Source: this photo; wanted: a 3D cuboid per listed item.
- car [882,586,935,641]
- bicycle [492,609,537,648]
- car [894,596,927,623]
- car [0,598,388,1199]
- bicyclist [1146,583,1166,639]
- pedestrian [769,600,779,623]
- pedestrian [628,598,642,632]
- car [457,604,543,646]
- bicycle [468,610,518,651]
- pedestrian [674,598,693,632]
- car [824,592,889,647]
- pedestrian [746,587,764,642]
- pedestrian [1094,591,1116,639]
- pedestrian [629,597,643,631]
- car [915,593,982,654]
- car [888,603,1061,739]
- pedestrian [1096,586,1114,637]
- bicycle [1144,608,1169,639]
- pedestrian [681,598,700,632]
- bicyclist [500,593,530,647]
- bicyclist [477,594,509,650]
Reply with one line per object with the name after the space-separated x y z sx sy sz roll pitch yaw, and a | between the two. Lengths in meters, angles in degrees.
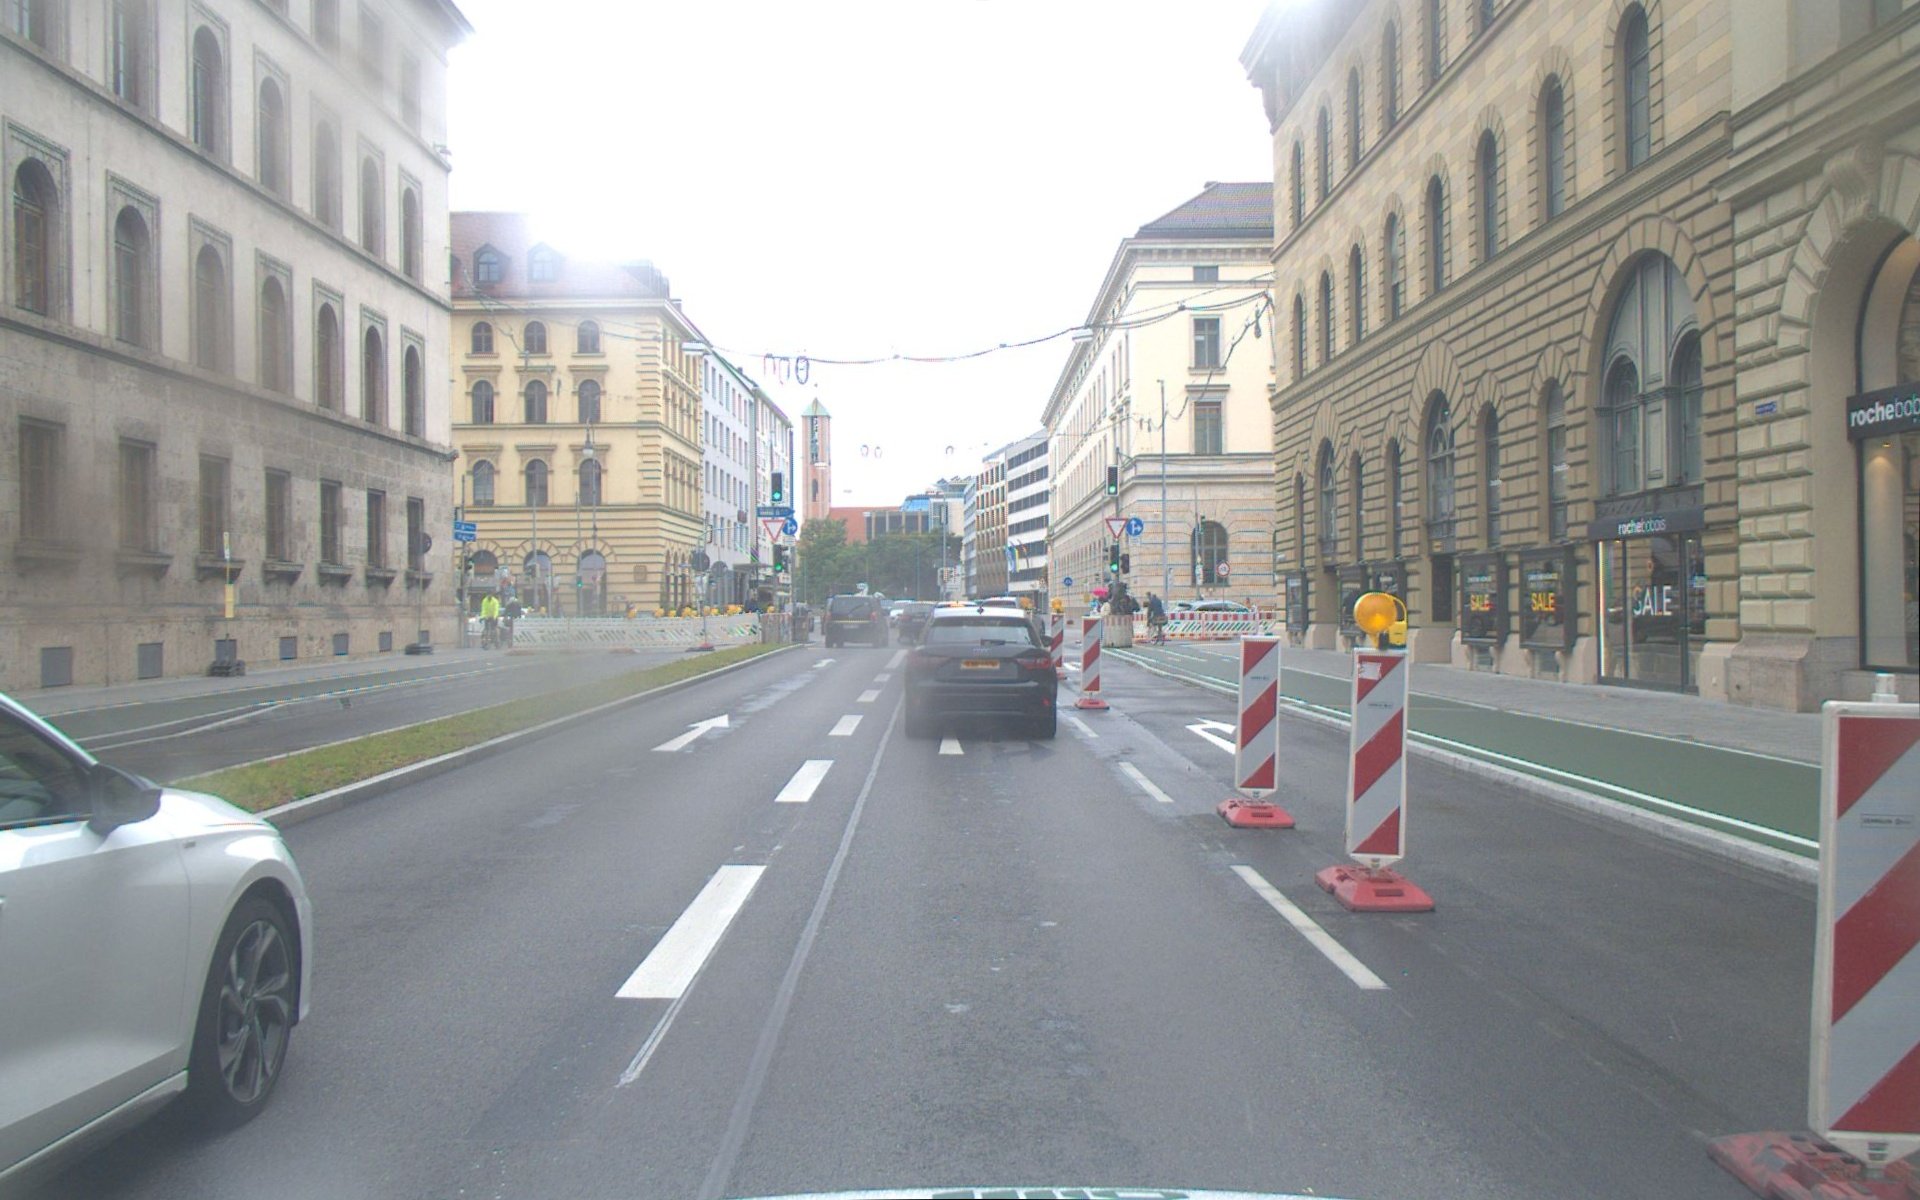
-1.986 0.499 64.537 1.953 2.049 3.999 -1 0 -1 | car
-15.043 0.960 55.912 0.770 1.264 2.200 0 0 4 | bicycle
-2.939 0.561 98.840 1.953 1.550 4.232 -1 0 -1 | car
-2.783 0.727 3.326 1.776 1.449 4.451 1 0 -1 | car
6.654 0.383 56.139 0.554 1.886 0.799 0 0 -3 | bicyclist
-14.523 0.901 129.276 0.722 1.803 0.736 0 0 -1 | pedestrian
-17.183 0.780 87.521 0.720 1.803 0.737 0 0 -11 | pedestrian
-21.337 1.152 76.856 3.674 1.830 1.862 -1 0 -12 | car
-14.945 0.966 53.021 0.770 1.264 2.450 0 0 4 | bicycle
-14.793 0.804 88.367 0.718 1.803 0.761 0 0 20 | pedestrian
-3.192 0.573 51.800 1.827 1.629 3.850 -1 0 -1 | car
-6.677 0.475 53.822 0.503 1.773 1.041 -1 0 -10 | pedestrian
4.881 0.504 55.589 0.688 1.594 0.541 0 0 2 | pedestrian
-17.273 0.761 88.266 0.720 1.803 0.737 0 0 -11 | pedestrian
-0.357 0.623 46.319 1.733 1.645 3.998 0 0 -2 | car
0.133 0.752 19.465 1.825 1.412 3.999 0 0 -1 | car
4.707 0.372 53.661 0.520 1.648 0.674 0 0 2 | pedestrian
6.651 0.795 56.131 0.573 1.029 1.656 0 0 -3 | bicycle
-14.516 0.804 89.118 0.718 1.803 0.739 0 0 20 | pedestrian
-15.034 0.666 55.844 0.781 1.807 0.689 0 0 3 | bicyclist
-14.948 0.693 52.955 0.781 1.779 0.689 0 0 3 | bicyclist
